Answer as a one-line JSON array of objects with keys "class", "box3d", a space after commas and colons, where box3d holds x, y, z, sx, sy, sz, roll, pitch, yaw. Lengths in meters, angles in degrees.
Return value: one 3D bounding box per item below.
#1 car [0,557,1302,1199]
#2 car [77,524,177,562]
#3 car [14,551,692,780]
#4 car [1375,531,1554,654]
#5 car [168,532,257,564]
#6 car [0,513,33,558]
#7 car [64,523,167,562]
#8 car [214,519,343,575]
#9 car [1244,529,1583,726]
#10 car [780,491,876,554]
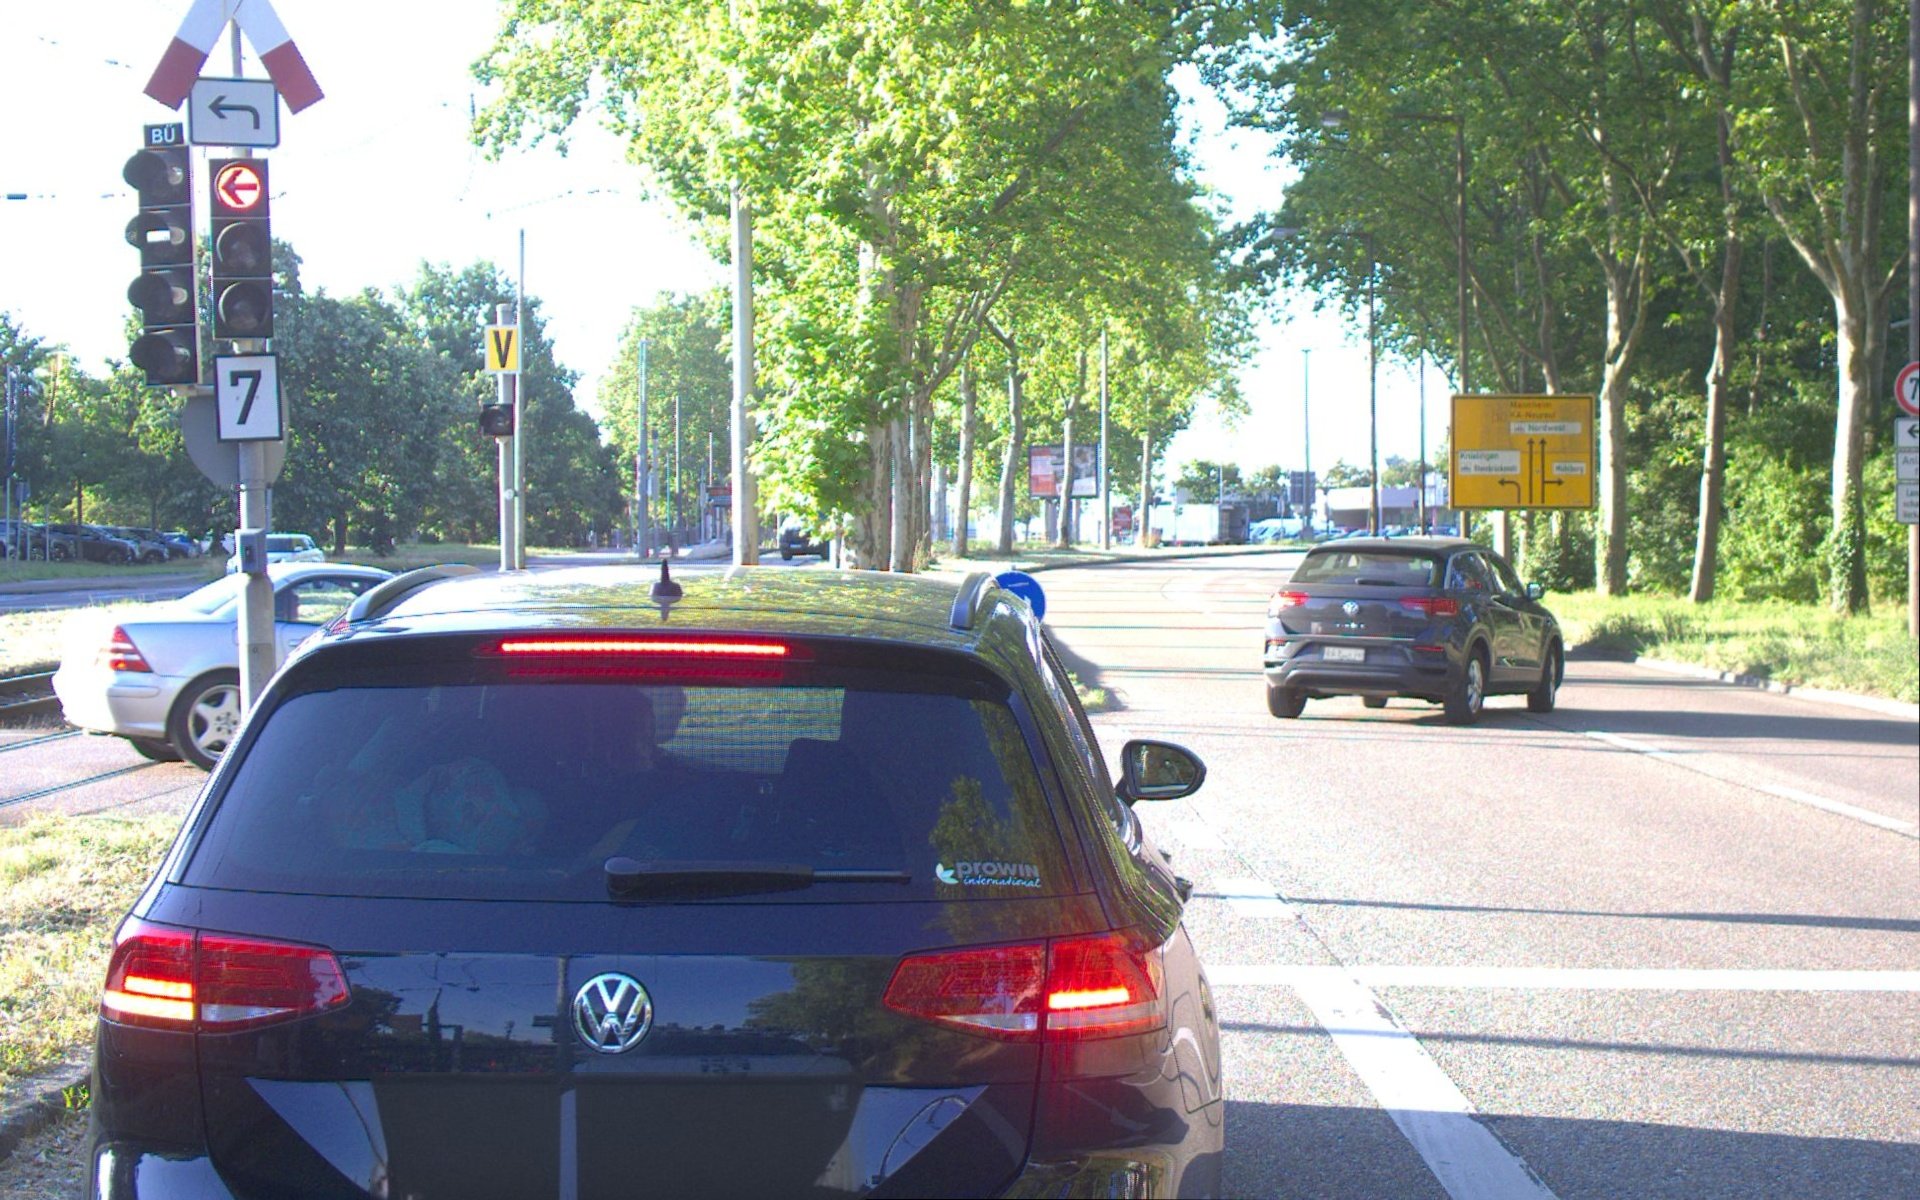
[{"class": "car", "box3d": [-0.480, 0.672, 6.406, 1.795, 1.459, 3.583, 1, 1, -1]}, {"class": "car", "box3d": [-36.120, -2.468, 149.064, 3.986, 1.615, 1.744, 1, 1, -5]}, {"class": "car", "box3d": [-3.866, 0.366, 21.950, 3.969, 1.290, 1.614, -1, 2, -25]}, {"class": "car", "box3d": [6.943, -0.130, 47.716, 1.872, 1.629, 4.370, 0, 1, 1]}, {"class": "car", "box3d": [-36.512, -2.539, 167.977, 3.986, 1.550, 1.744, 1, 1, -4]}, {"class": "car", "box3d": [-35.919, -2.358, 124.995, 3.986, 1.615, 1.744, 1, 1, -5]}, {"class": "car", "box3d": [-35.827, -2.449, 145.901, 3.986, 1.615, 1.744, 1, 1, -5]}, {"class": "car", "box3d": [-18.802, -1.480, 95.003, 1.863, 1.476, 4.089, 1, 1, 15]}, {"class": "car", "box3d": [4.004, 0.185, 29.789, 1.710, 1.555, 4.160, 1, 1, 25]}, {"class": "car", "box3d": [-5.339, -3.149, 139.550, 2.097, 2.453, 5.848, 1, 1, 17]}]
